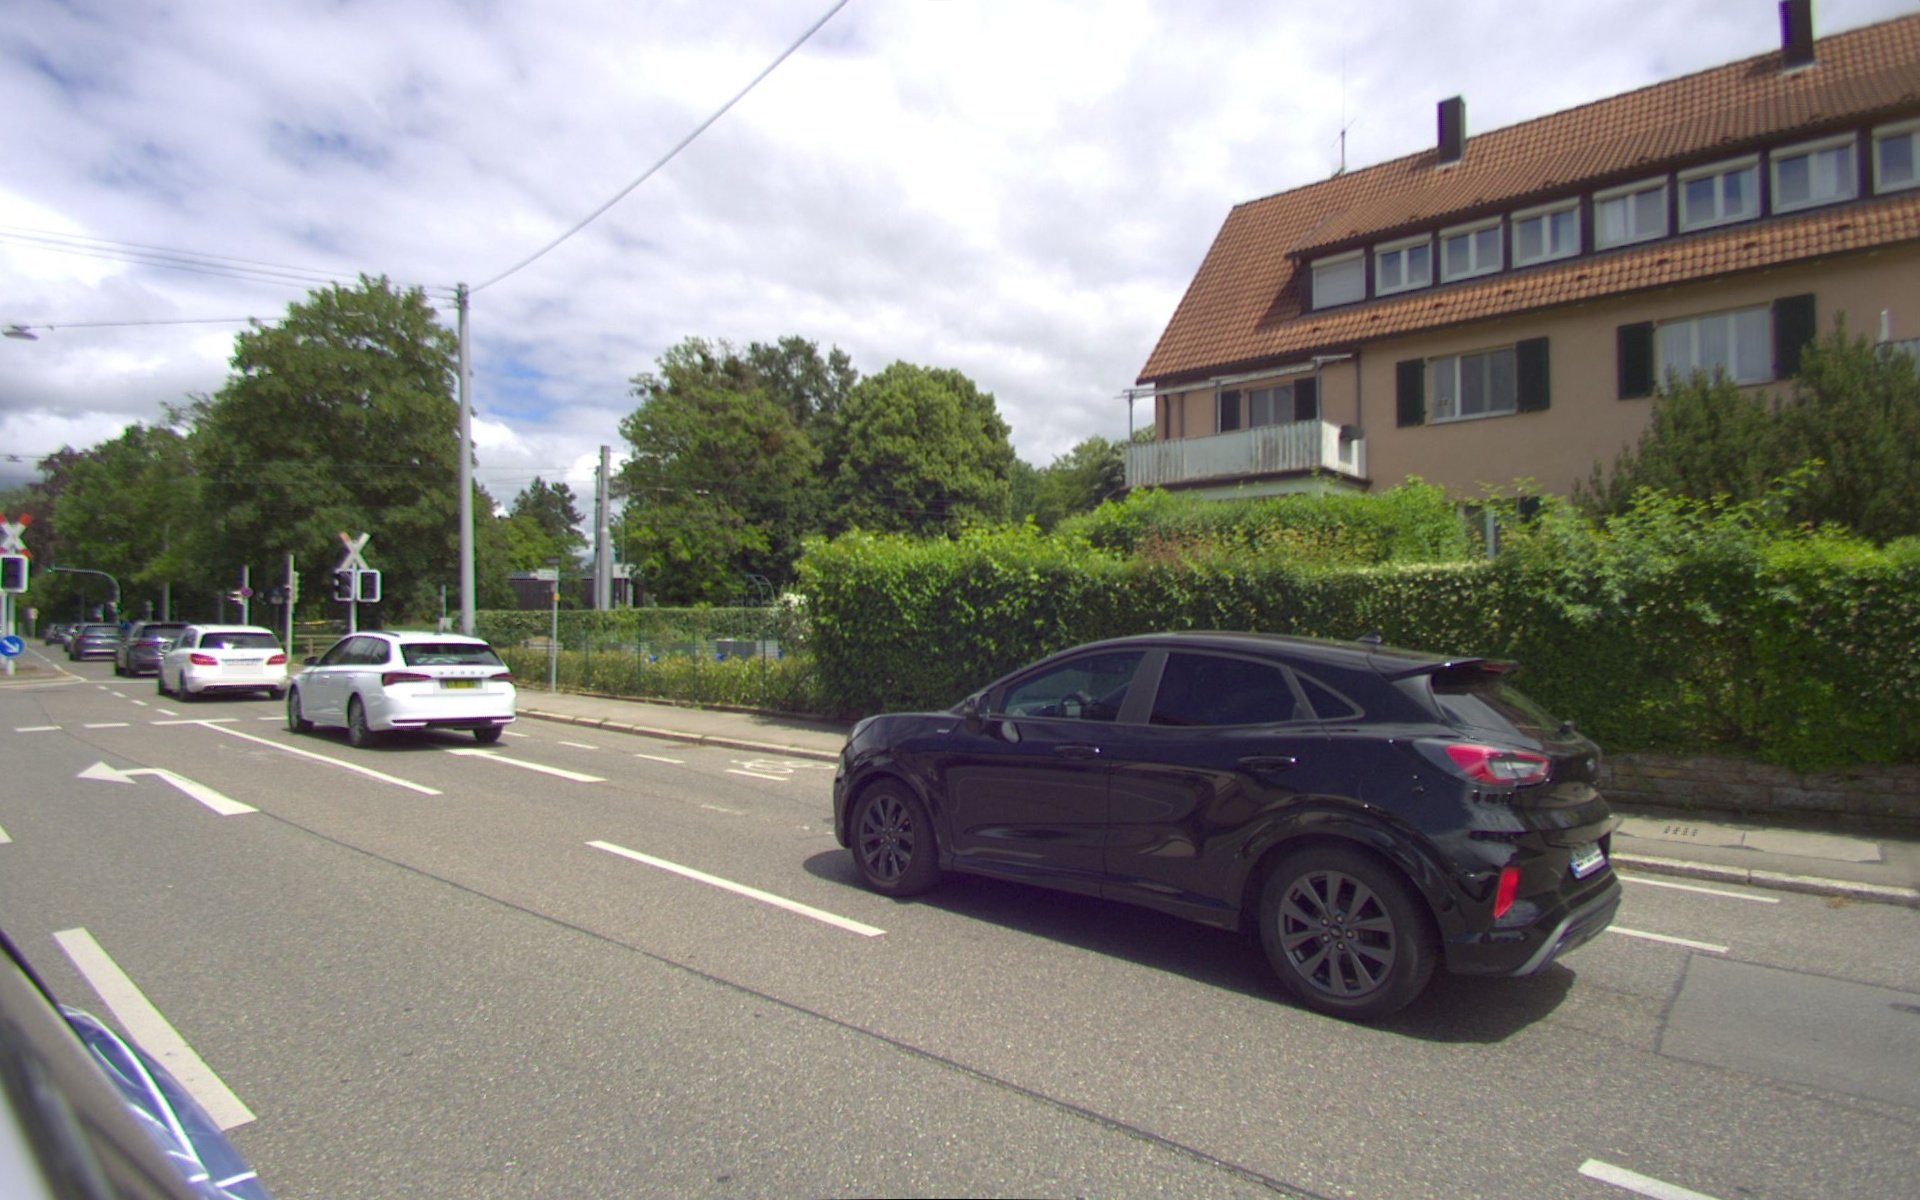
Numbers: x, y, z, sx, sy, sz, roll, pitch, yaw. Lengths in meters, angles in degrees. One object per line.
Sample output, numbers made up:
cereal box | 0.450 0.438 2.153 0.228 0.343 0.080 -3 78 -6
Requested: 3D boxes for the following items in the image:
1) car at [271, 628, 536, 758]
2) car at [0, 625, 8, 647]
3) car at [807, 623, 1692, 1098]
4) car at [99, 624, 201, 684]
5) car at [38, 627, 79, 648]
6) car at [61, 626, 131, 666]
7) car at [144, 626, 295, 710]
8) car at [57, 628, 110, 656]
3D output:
car | -7.729 1.144 13.861 4.442 1.487 1.855 -1 -3 43
car | -65.440 2.405 68.087 4.002 1.431 1.906 -1 -1 45
car | 1.157 0.897 5.265 4.117 1.467 1.678 -1 -3 44
car | -23.975 1.541 29.907 4.000 1.604 1.777 -1 -1 43
car | -63.435 2.602 71.179 4.002 1.431 1.906 -1 -1 45
car | -36.282 1.903 42.453 4.000 1.597 1.761 -1 -2 43
car | -15.837 1.363 21.567 4.159 1.587 1.827 -1 -2 43
car | -48.085 2.252 55.518 4.002 1.431 1.906 -1 -1 45
